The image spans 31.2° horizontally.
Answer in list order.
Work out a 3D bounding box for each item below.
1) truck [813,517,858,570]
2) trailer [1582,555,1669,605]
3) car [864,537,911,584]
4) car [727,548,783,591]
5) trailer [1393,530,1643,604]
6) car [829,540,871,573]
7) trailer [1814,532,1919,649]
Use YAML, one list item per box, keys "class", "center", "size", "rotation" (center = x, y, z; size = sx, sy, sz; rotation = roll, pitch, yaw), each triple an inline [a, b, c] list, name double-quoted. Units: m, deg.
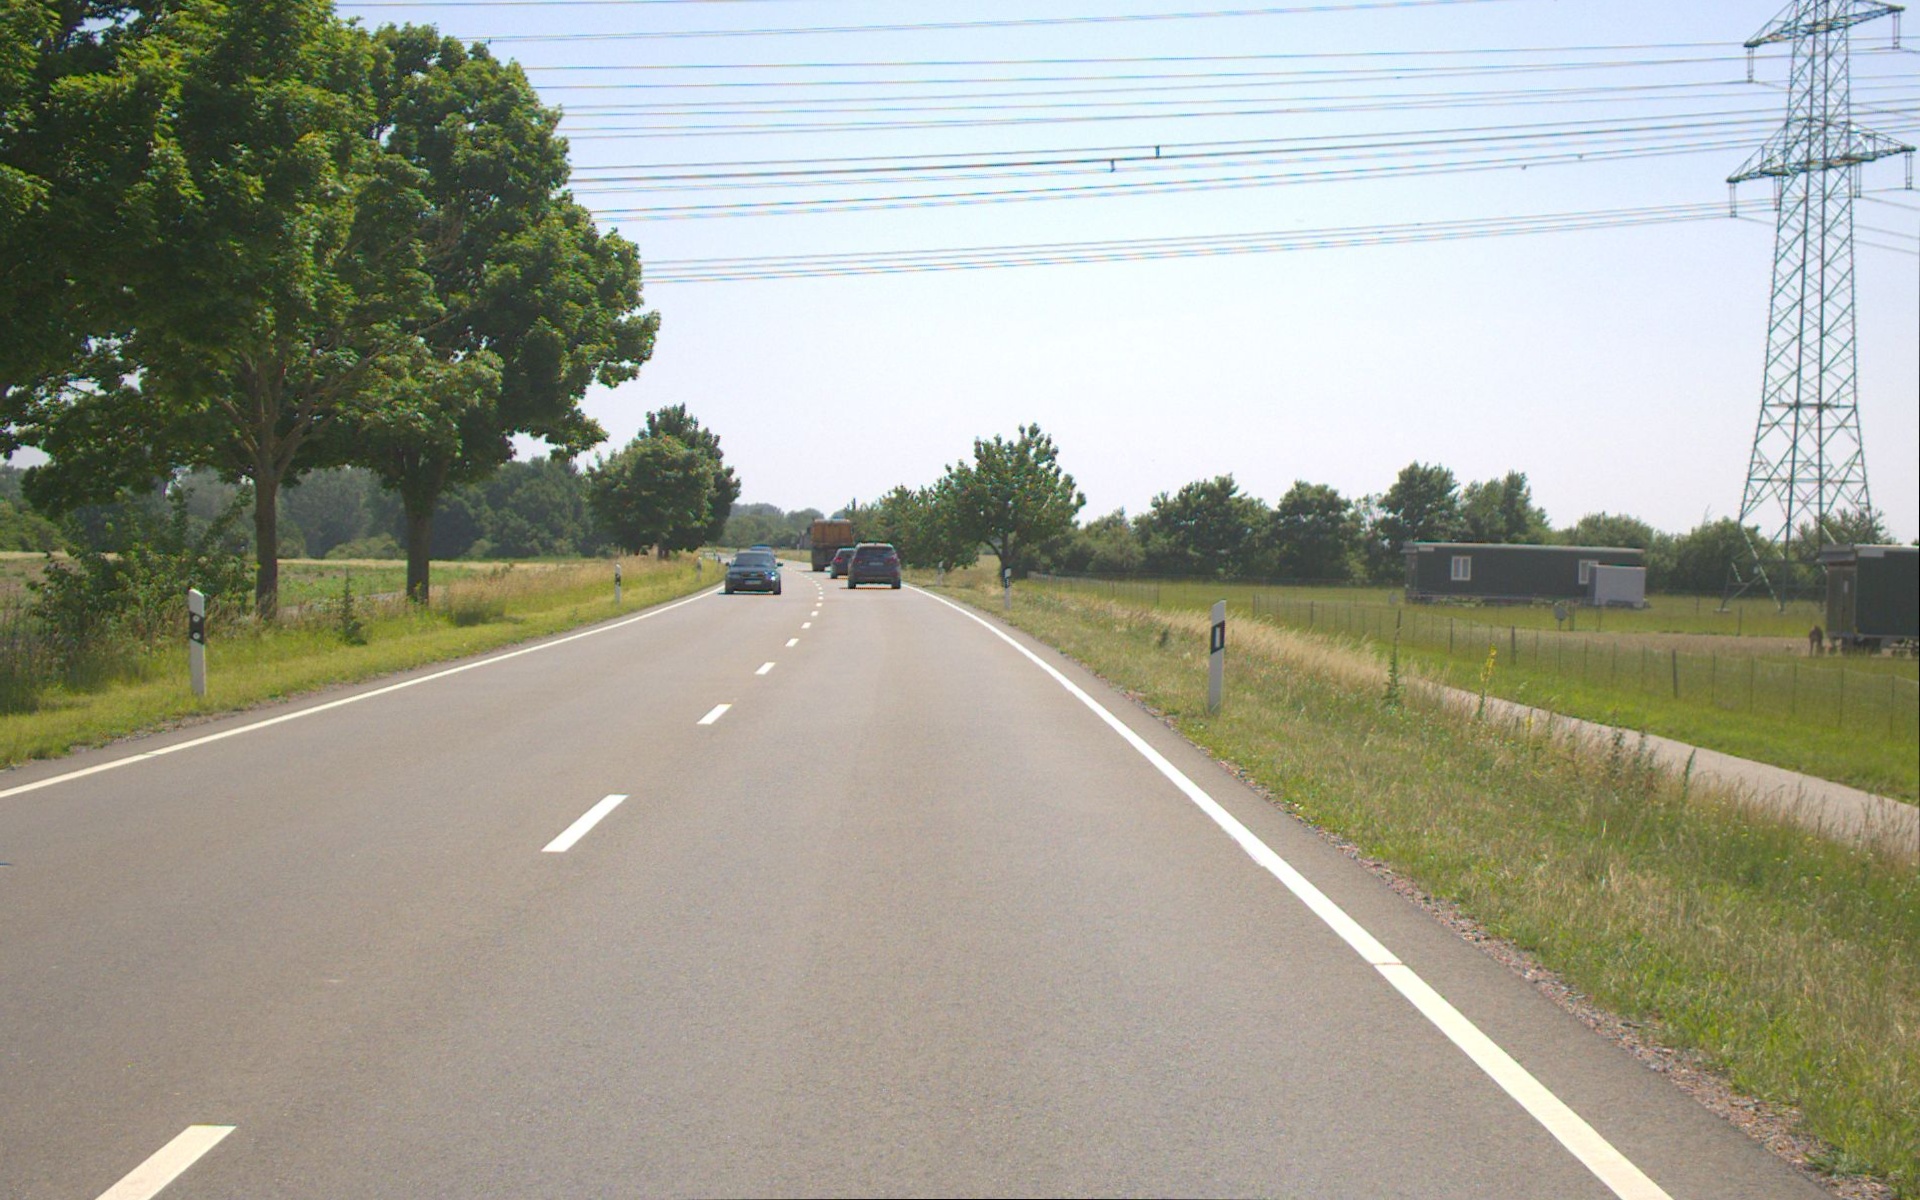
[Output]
- class: "truck"
  center: [-7.626, -3.416, 209.841]
  size: [2.370, 3.129, 8.749]
  rotation: [1, 1, -4]
- class: "trailer"
  center: [34.767, -1.058, 179.578]
  size: [3.986, 2.434, 2.000]
  rotation: [2, 1, -6]
- class: "car"
  center: [-2.685, -1.457, 127.155]
  size: [1.714, 1.688, 3.989]
  rotation: [1, 1, -1]
- class: "car"
  center: [-6.527, -0.976, 109.681]
  size: [1.705, 1.328, 4.000]
  rotation: [1, 1, -3]
- class: "trailer"
  center: [29.553, -1.765, 182.380]
  size: [12.409, 3.461, 3.806]
  rotation: [2, 1, -4]
- class: "car"
  center: [-5.252, -2.068, 163.871]
  size: [1.850, 1.517, 4.001]
  rotation: [1, 1, -4]
- class: "trailer"
  center: [33.358, -0.141, 105.197]
  size: [13.508, 3.463, 3.277]
  rotation: [2, 1, -3]
